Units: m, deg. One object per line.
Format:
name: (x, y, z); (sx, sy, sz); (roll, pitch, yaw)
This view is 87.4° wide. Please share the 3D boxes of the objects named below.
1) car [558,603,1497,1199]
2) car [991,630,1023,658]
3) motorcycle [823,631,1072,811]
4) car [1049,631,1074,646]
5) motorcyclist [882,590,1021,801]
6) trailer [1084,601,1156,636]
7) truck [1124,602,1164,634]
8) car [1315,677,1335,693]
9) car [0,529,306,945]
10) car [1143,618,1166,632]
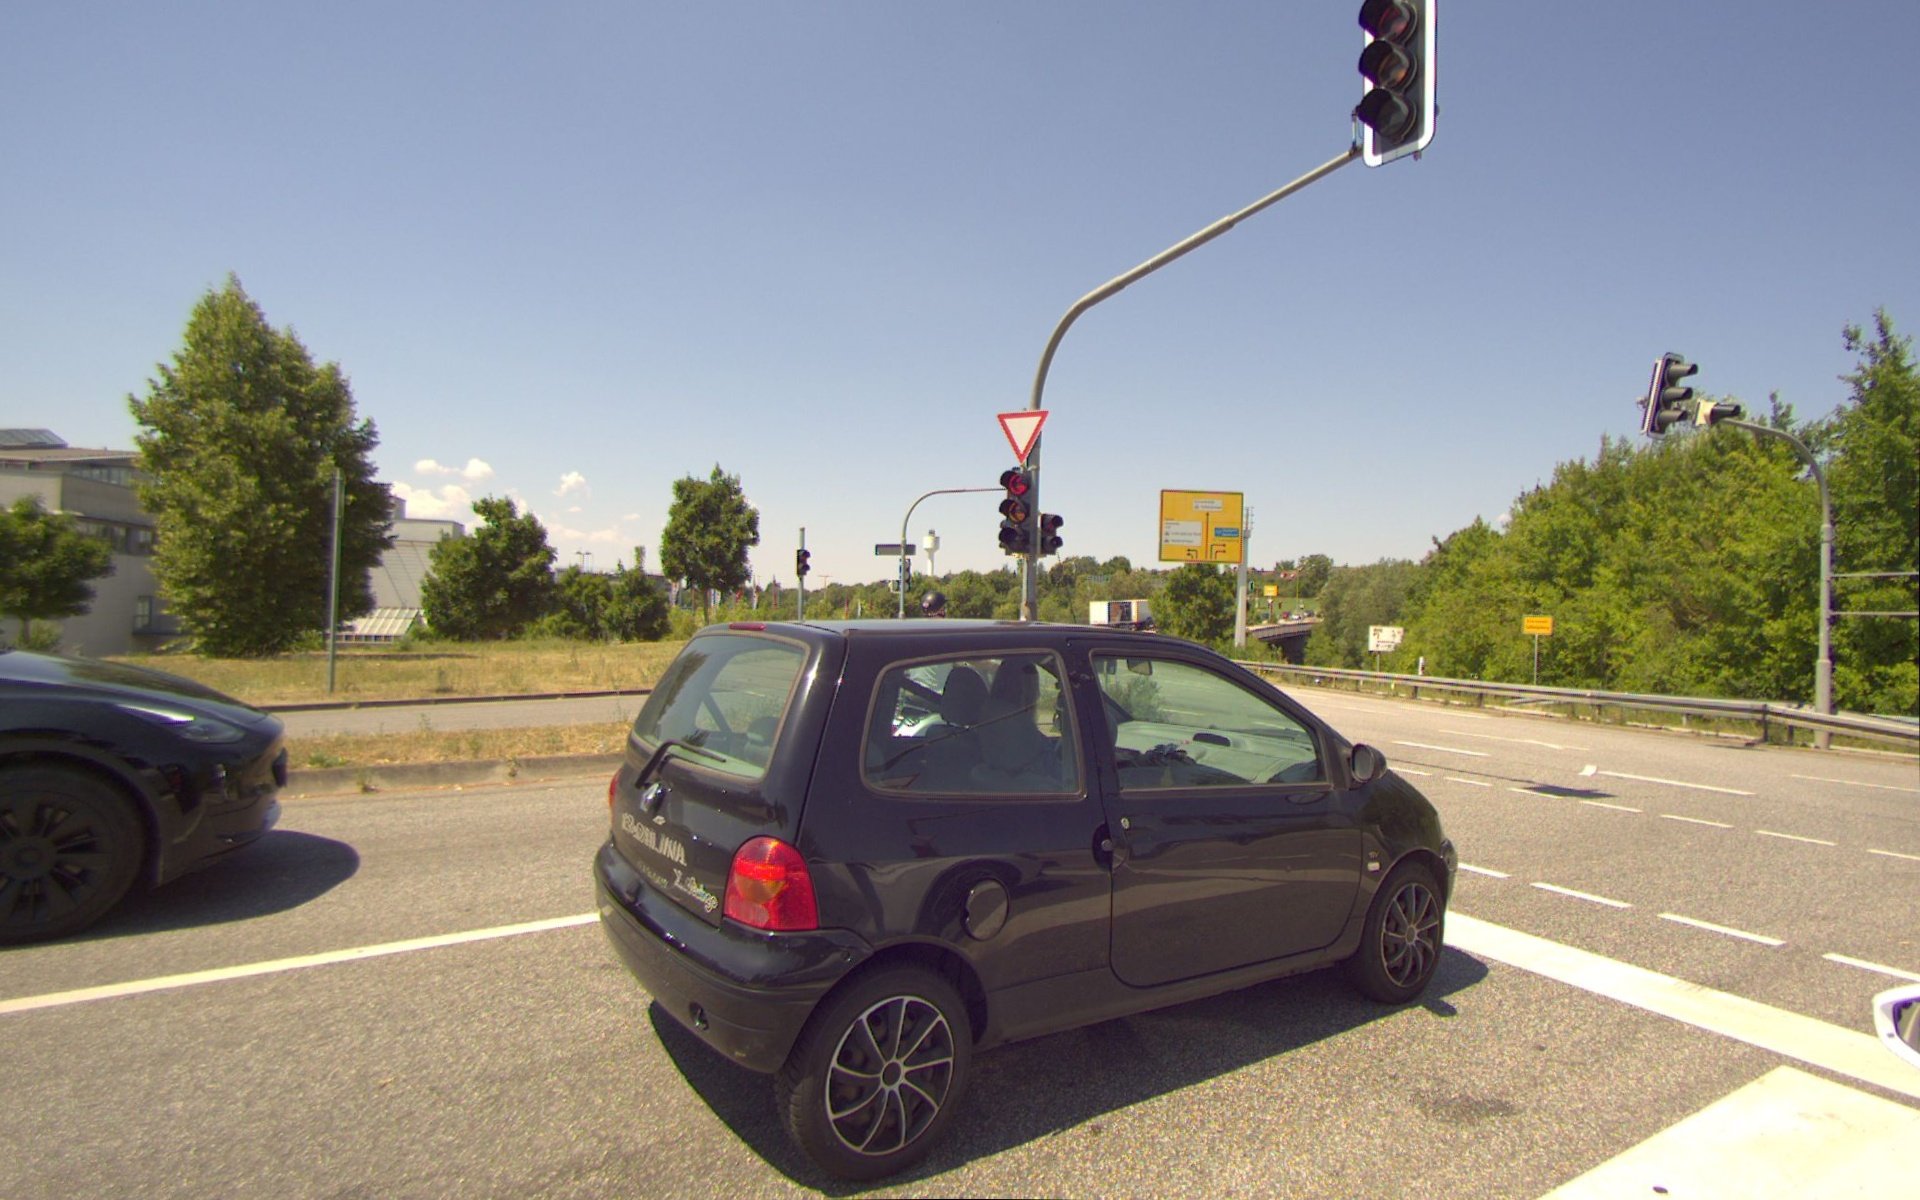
car: (0.379, 0.773, 3.820); (3.267, 1.426, 1.609); (2, -1, -34)
car: (2.655, 2.505, 57.396); (1.614, 1.413, 3.992); (5, -2, 1)
motorcycle: (-0.061, 0.908, 7.917); (1.921, 1.255, 0.572); (3, -1, -35)
car: (11.101, 4.241, 109.541); (1.776, 1.452, 3.930); (4, -2, 19)
motorcyclist: (-0.067, 0.722, 7.922); (0.838, 1.560, 0.607); (3, 0, -34)
trailer: (21.383, 2.346, 132.940); (3.188, 4.305, 15.359); (1, 1, 34)
truck: (25.587, 2.424, 139.297); (3.188, 4.305, 6.218); (1, 1, 34)
car: (40.741, 9.503, 112.177); (1.776, 1.452, 4.416); (4, -2, 18)
car: (-5.279, 0.491, 3.941); (4.462, 1.622, 1.862); (2, 0, -36)
car: (26.043, 3.378, 134.498); (1.851, 1.755, 3.993); (1, 0, 29)
